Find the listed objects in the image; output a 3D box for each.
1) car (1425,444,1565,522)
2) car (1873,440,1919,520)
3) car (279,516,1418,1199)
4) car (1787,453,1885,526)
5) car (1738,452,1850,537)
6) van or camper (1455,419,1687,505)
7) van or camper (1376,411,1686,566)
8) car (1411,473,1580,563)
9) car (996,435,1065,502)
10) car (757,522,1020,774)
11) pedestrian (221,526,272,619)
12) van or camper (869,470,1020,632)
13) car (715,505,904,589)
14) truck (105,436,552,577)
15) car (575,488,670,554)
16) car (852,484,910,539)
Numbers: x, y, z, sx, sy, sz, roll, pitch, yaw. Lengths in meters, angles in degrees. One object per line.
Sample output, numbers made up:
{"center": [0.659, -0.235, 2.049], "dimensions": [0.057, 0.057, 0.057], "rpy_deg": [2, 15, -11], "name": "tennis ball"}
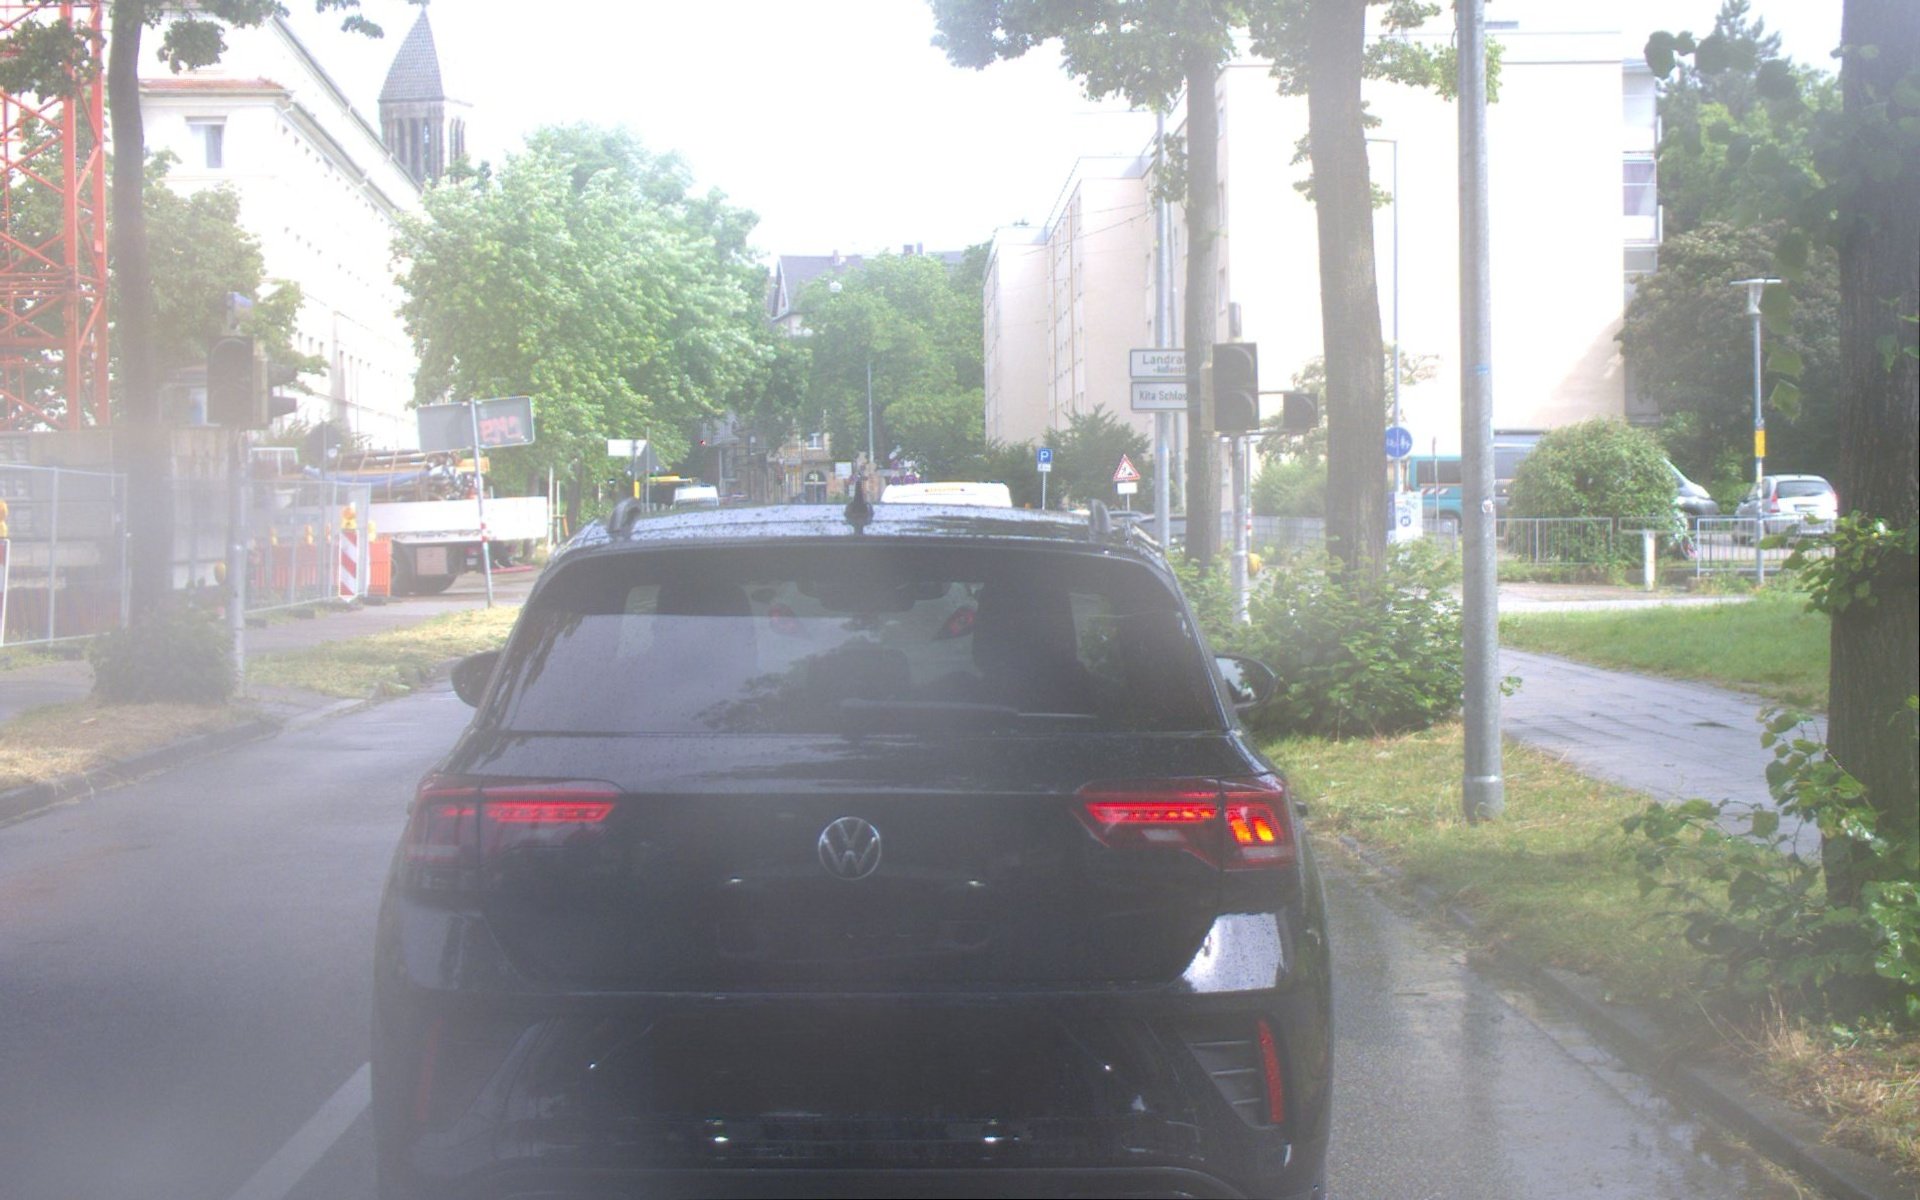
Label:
{"center": [13.702, -2.990, 88.112], "dimensions": [3.408, 1.775, 1.759], "rpy_deg": [-3, 1, 9], "name": "car"}
{"center": [25.246, -3.156, 89.451], "dimensions": [1.994, 2.006, 4.000], "rpy_deg": [-4, 1, 4], "name": "car"}
{"center": [-0.200, 0.582, 7.737], "dimensions": [1.894, 1.517, 4.000], "rpy_deg": [0, 2, 0], "name": "car"}
{"center": [24.253, -3.058, 95.300], "dimensions": [1.867, 1.850, 3.810], "rpy_deg": [-4, 1, 4], "name": "car"}
{"center": [17.908, -2.265, 73.957], "dimensions": [1.743, 1.678, 3.870], "rpy_deg": [-3, 1, 6], "name": "car"}
{"center": [13.832, -3.134, 78.048], "dimensions": [4.874, 1.919, 2.131], "rpy_deg": [0, 2, 0], "name": "van or camper"}
{"center": [10.048, -1.962, 60.744], "dimensions": [5.032, 2.587, 2.168], "rpy_deg": [-1, 1, -1], "name": "van or camper"}
{"center": [11.329, -1.752, 72.947], "dimensions": [3.408, 1.775, 1.760], "rpy_deg": [-2, 2, 6], "name": "car"}
{"center": [2.168, -4.048, 106.314], "dimensions": [1.993, 2.007, 4.000], "rpy_deg": [0, 1, -1], "name": "car"}
{"center": [-0.474, 0.304, 26.377], "dimensions": [1.680, 1.702, 3.909], "rpy_deg": [-3, 1, 3], "name": "car"}
{"center": [-11.679, -0.458, 56.260], "dimensions": [0.660, 1.480, 0.673], "rpy_deg": [-1, 2, -25], "name": "pedestrian"}
{"center": [-0.154, -0.660, 43.444], "dimensions": [1.819, 1.941, 4.195], "rpy_deg": [0, 2, 1], "name": "van or camper"}
{"center": [-3.389, -1.208, 77.719], "dimensions": [3.925, 1.645, 1.759], "rpy_deg": [-5, 2, -40], "name": "car"}
{"center": [-12.356, -1.857, 67.344], "dimensions": [8.220, 2.647, 2.812], "rpy_deg": [1, 2, 16], "name": "truck"}
{"center": [-8.458, -1.997, 86.441], "dimensions": [1.591, 1.507, 3.731], "rpy_deg": [-4, 2, 5], "name": "car"}
{"center": [-2.360, -2.646, 102.410], "dimensions": [1.591, 1.507, 3.732], "rpy_deg": [-4, 2, -2], "name": "car"}
